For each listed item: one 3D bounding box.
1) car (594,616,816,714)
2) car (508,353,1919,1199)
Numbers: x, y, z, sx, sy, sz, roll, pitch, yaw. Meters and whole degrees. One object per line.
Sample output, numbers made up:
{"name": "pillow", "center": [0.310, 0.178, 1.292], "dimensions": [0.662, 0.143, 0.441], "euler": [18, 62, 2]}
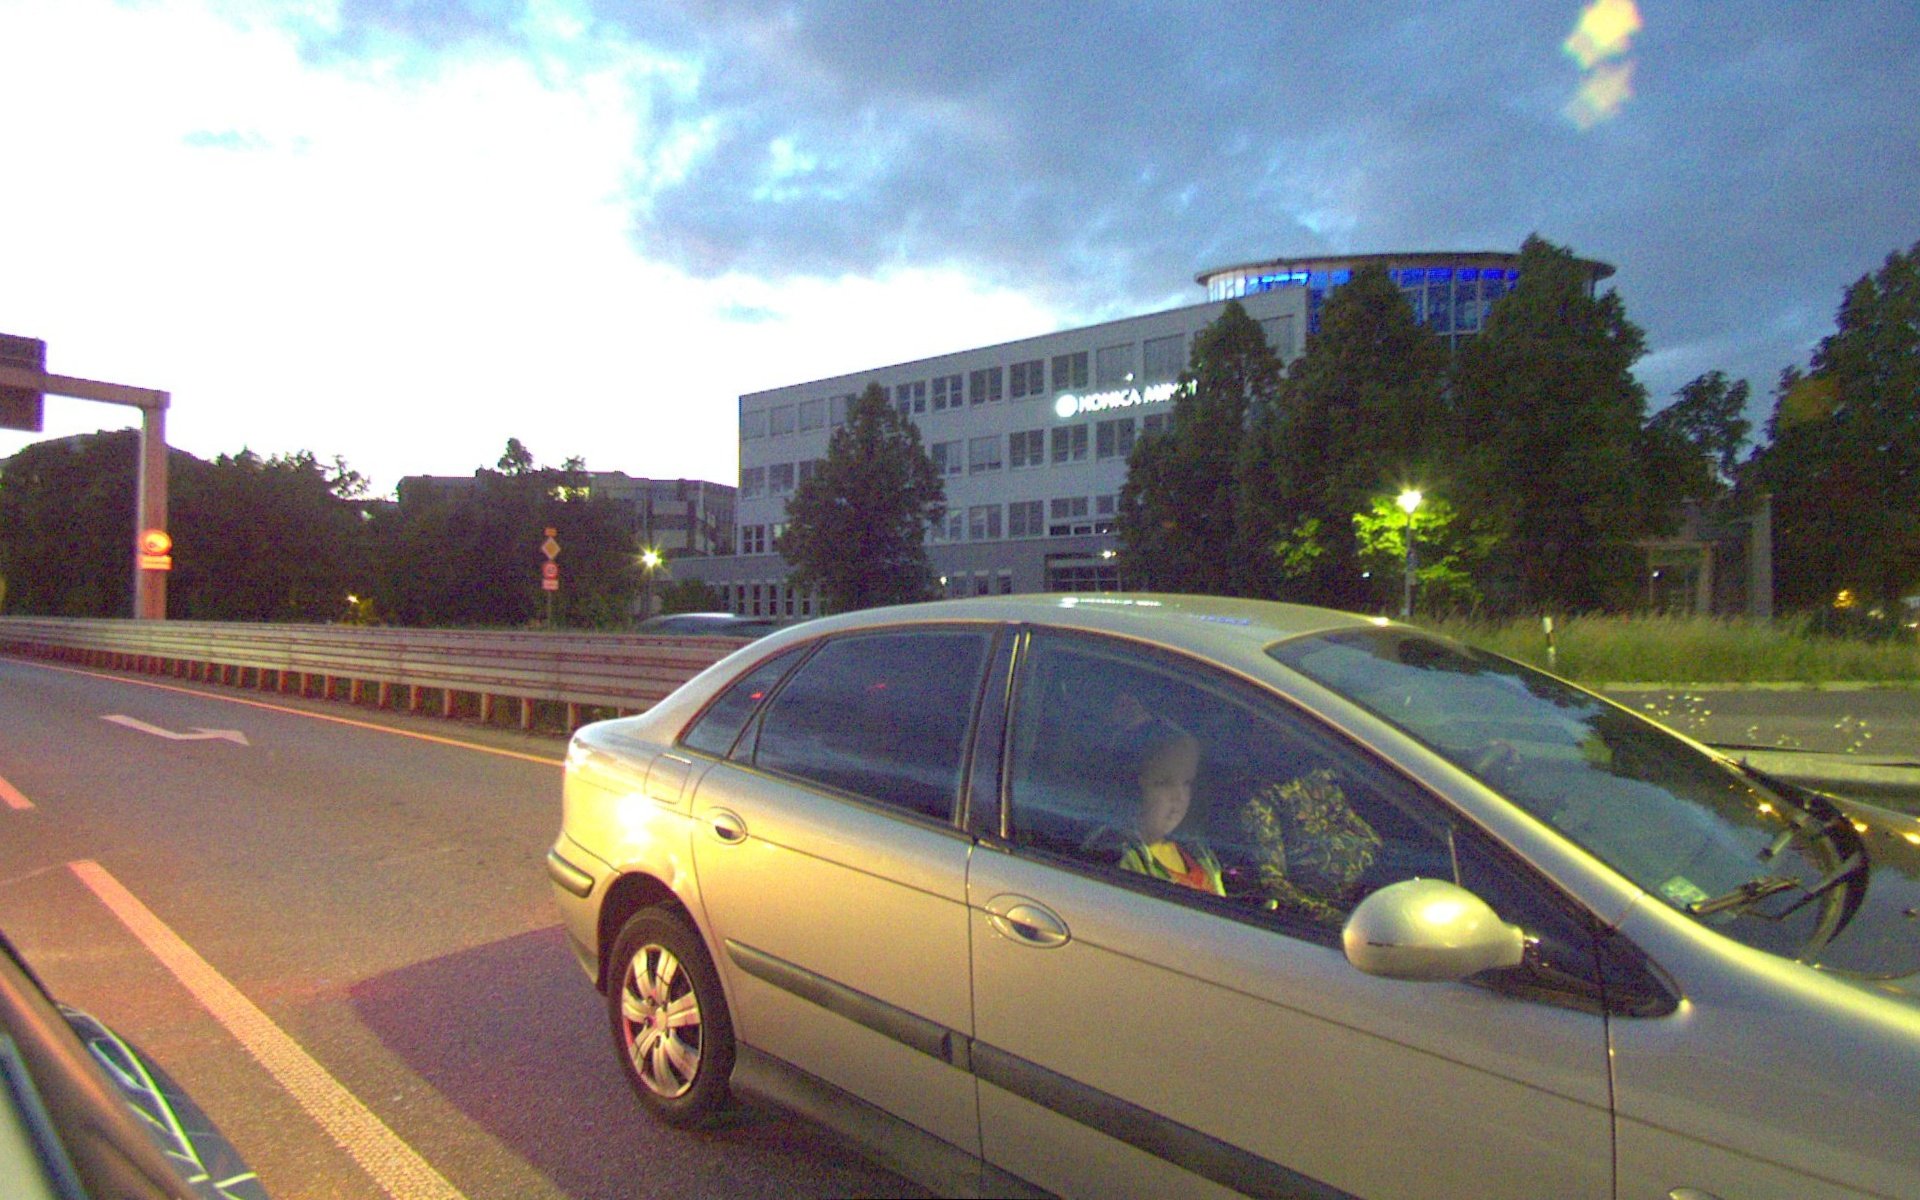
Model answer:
{"name": "car", "center": [-4.390, 1.010, 17.069], "dimensions": [4.111, 1.454, 1.738], "euler": [-1, -2, 44]}
{"name": "car", "center": [0.735, 0.581, 2.422], "dimensions": [4.409, 1.665, 1.648], "euler": [-1, 0, 42]}
